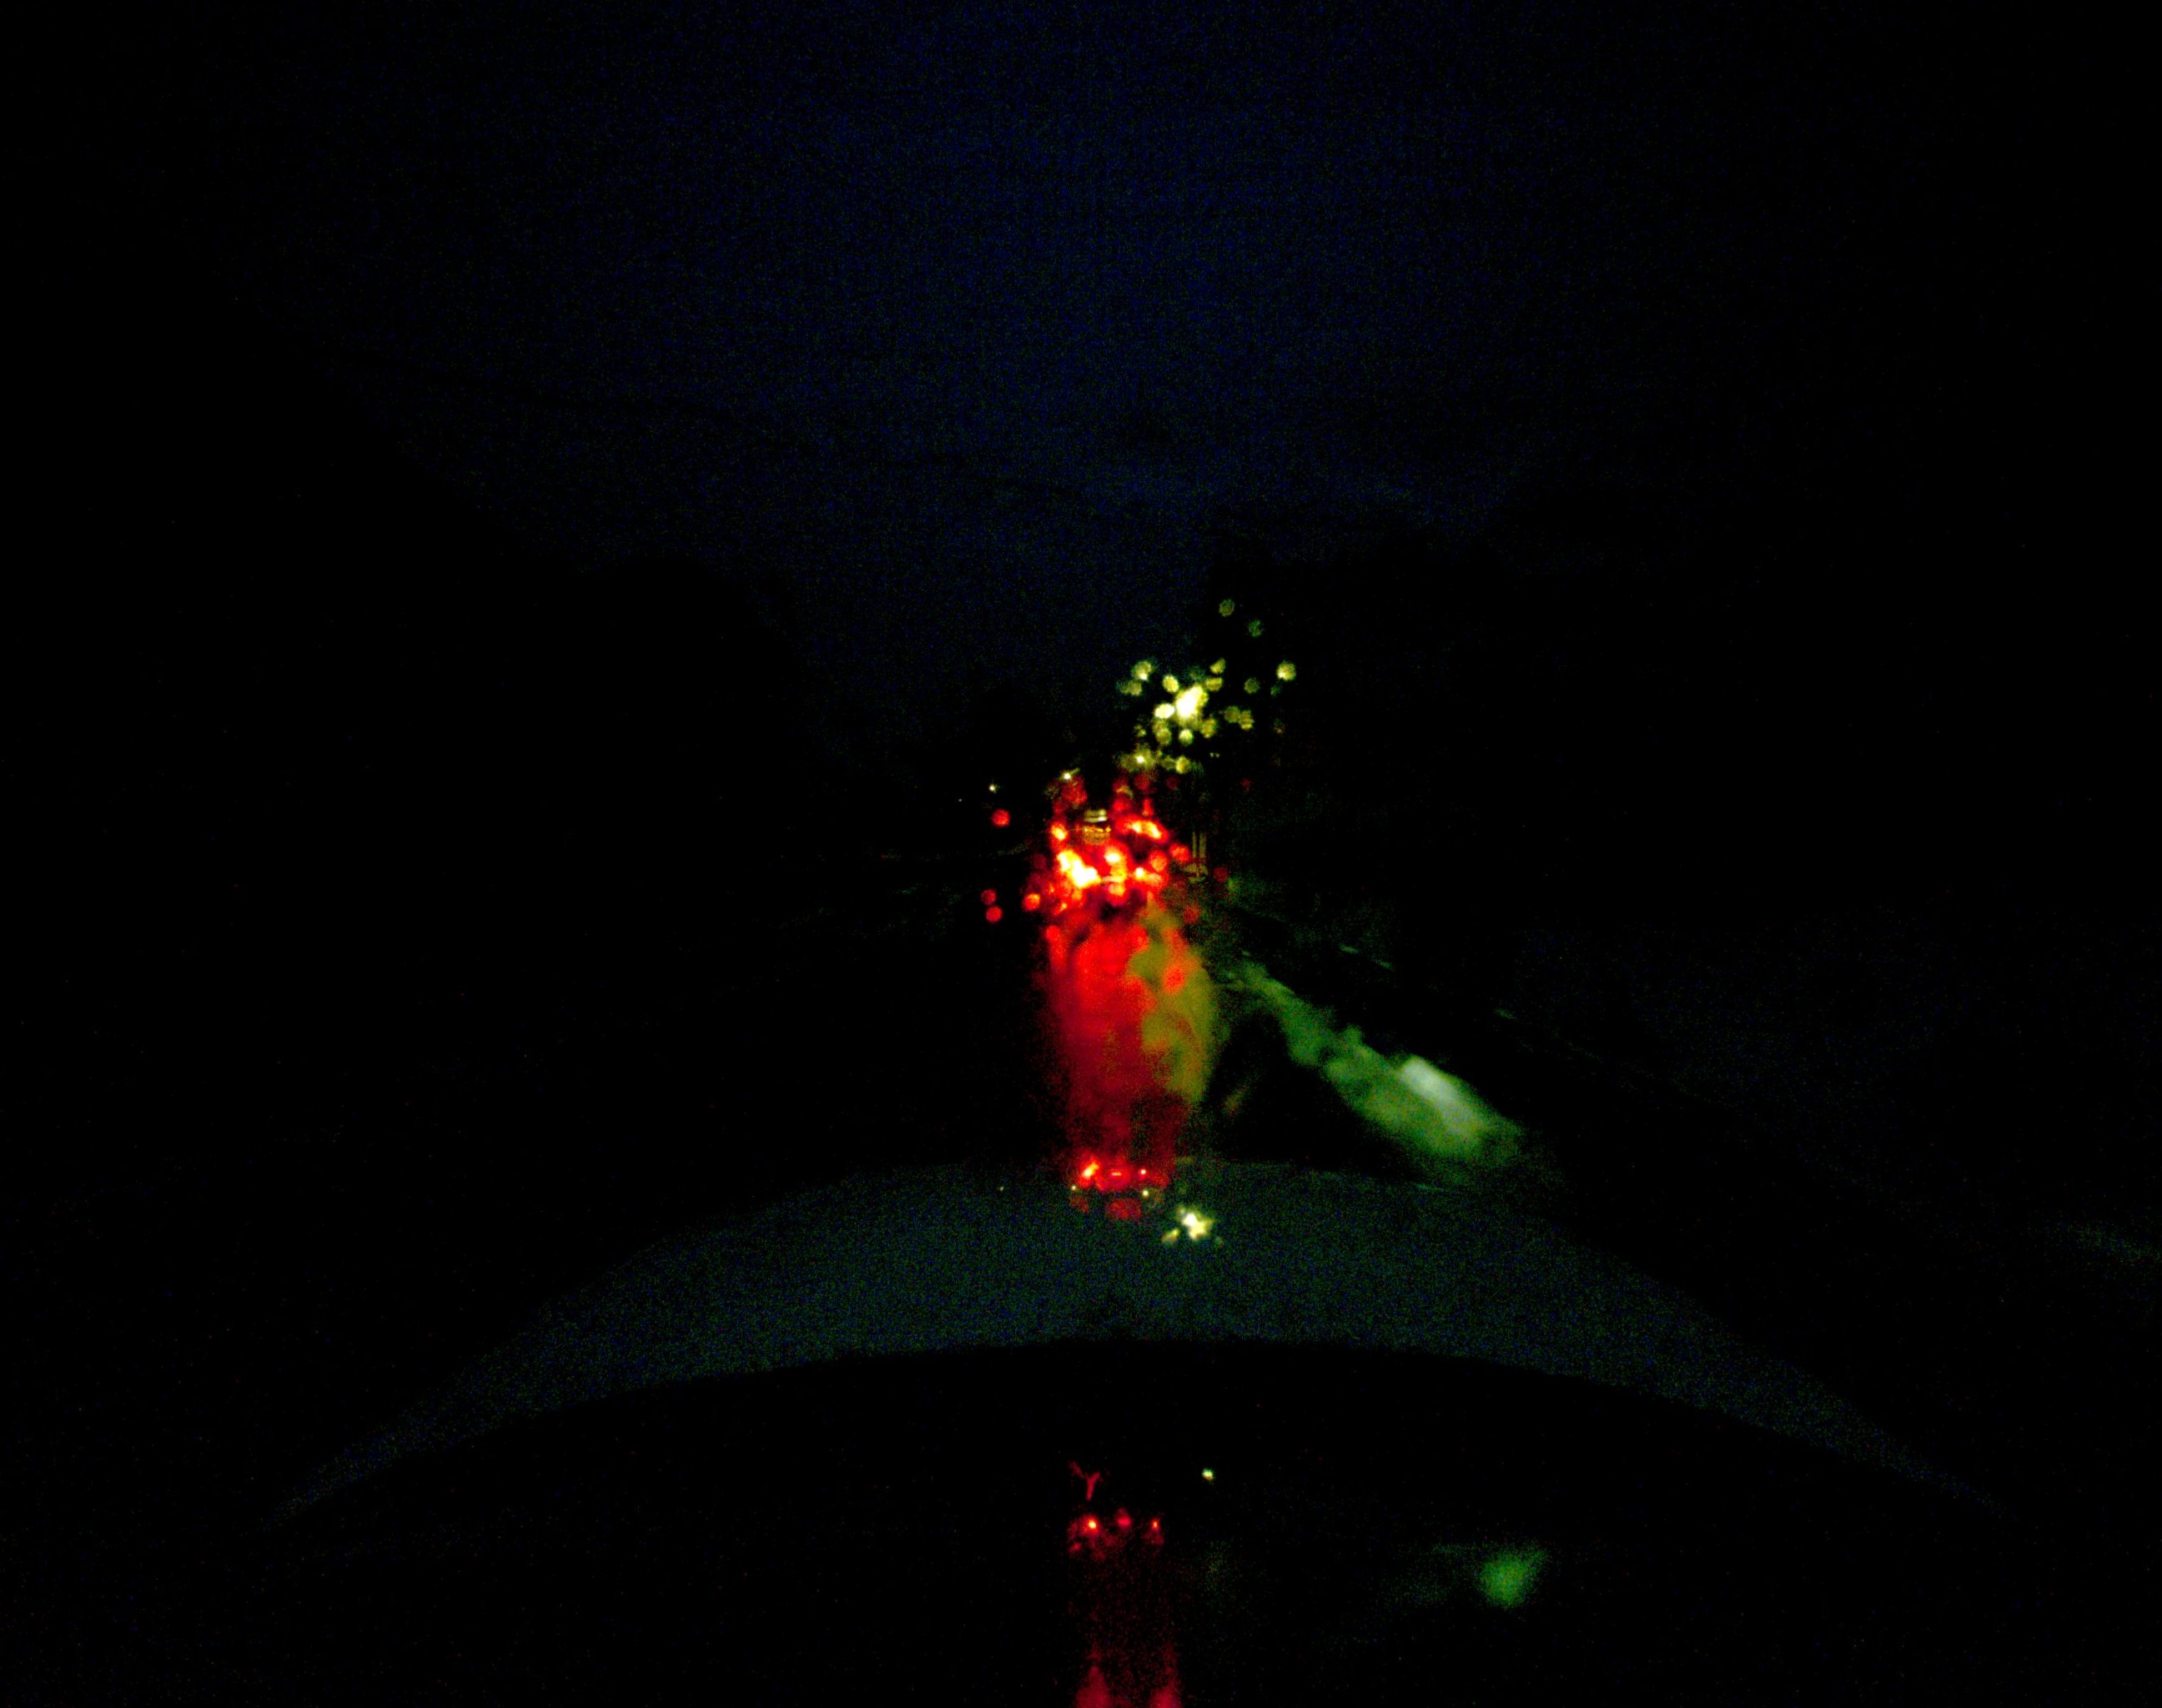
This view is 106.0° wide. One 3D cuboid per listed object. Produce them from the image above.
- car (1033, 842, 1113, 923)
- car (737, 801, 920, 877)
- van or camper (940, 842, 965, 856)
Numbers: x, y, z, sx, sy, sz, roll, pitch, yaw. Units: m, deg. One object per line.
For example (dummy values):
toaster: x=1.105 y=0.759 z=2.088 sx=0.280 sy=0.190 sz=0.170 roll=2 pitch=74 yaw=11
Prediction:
car: x=-0.198 y=0.636 z=20.875 sx=1.817 sy=1.796 sz=3.577 roll=-2 pitch=1 yaw=-1
car: x=-9.140 y=-0.466 z=29.758 sx=6.133 sy=2.553 sz=1.981 roll=0 pitch=-1 yaw=-30
van or camper: x=-10.908 y=-0.445 z=68.789 sx=1.289 sy=1.101 sz=3.246 roll=0 pitch=-1 yaw=-24
